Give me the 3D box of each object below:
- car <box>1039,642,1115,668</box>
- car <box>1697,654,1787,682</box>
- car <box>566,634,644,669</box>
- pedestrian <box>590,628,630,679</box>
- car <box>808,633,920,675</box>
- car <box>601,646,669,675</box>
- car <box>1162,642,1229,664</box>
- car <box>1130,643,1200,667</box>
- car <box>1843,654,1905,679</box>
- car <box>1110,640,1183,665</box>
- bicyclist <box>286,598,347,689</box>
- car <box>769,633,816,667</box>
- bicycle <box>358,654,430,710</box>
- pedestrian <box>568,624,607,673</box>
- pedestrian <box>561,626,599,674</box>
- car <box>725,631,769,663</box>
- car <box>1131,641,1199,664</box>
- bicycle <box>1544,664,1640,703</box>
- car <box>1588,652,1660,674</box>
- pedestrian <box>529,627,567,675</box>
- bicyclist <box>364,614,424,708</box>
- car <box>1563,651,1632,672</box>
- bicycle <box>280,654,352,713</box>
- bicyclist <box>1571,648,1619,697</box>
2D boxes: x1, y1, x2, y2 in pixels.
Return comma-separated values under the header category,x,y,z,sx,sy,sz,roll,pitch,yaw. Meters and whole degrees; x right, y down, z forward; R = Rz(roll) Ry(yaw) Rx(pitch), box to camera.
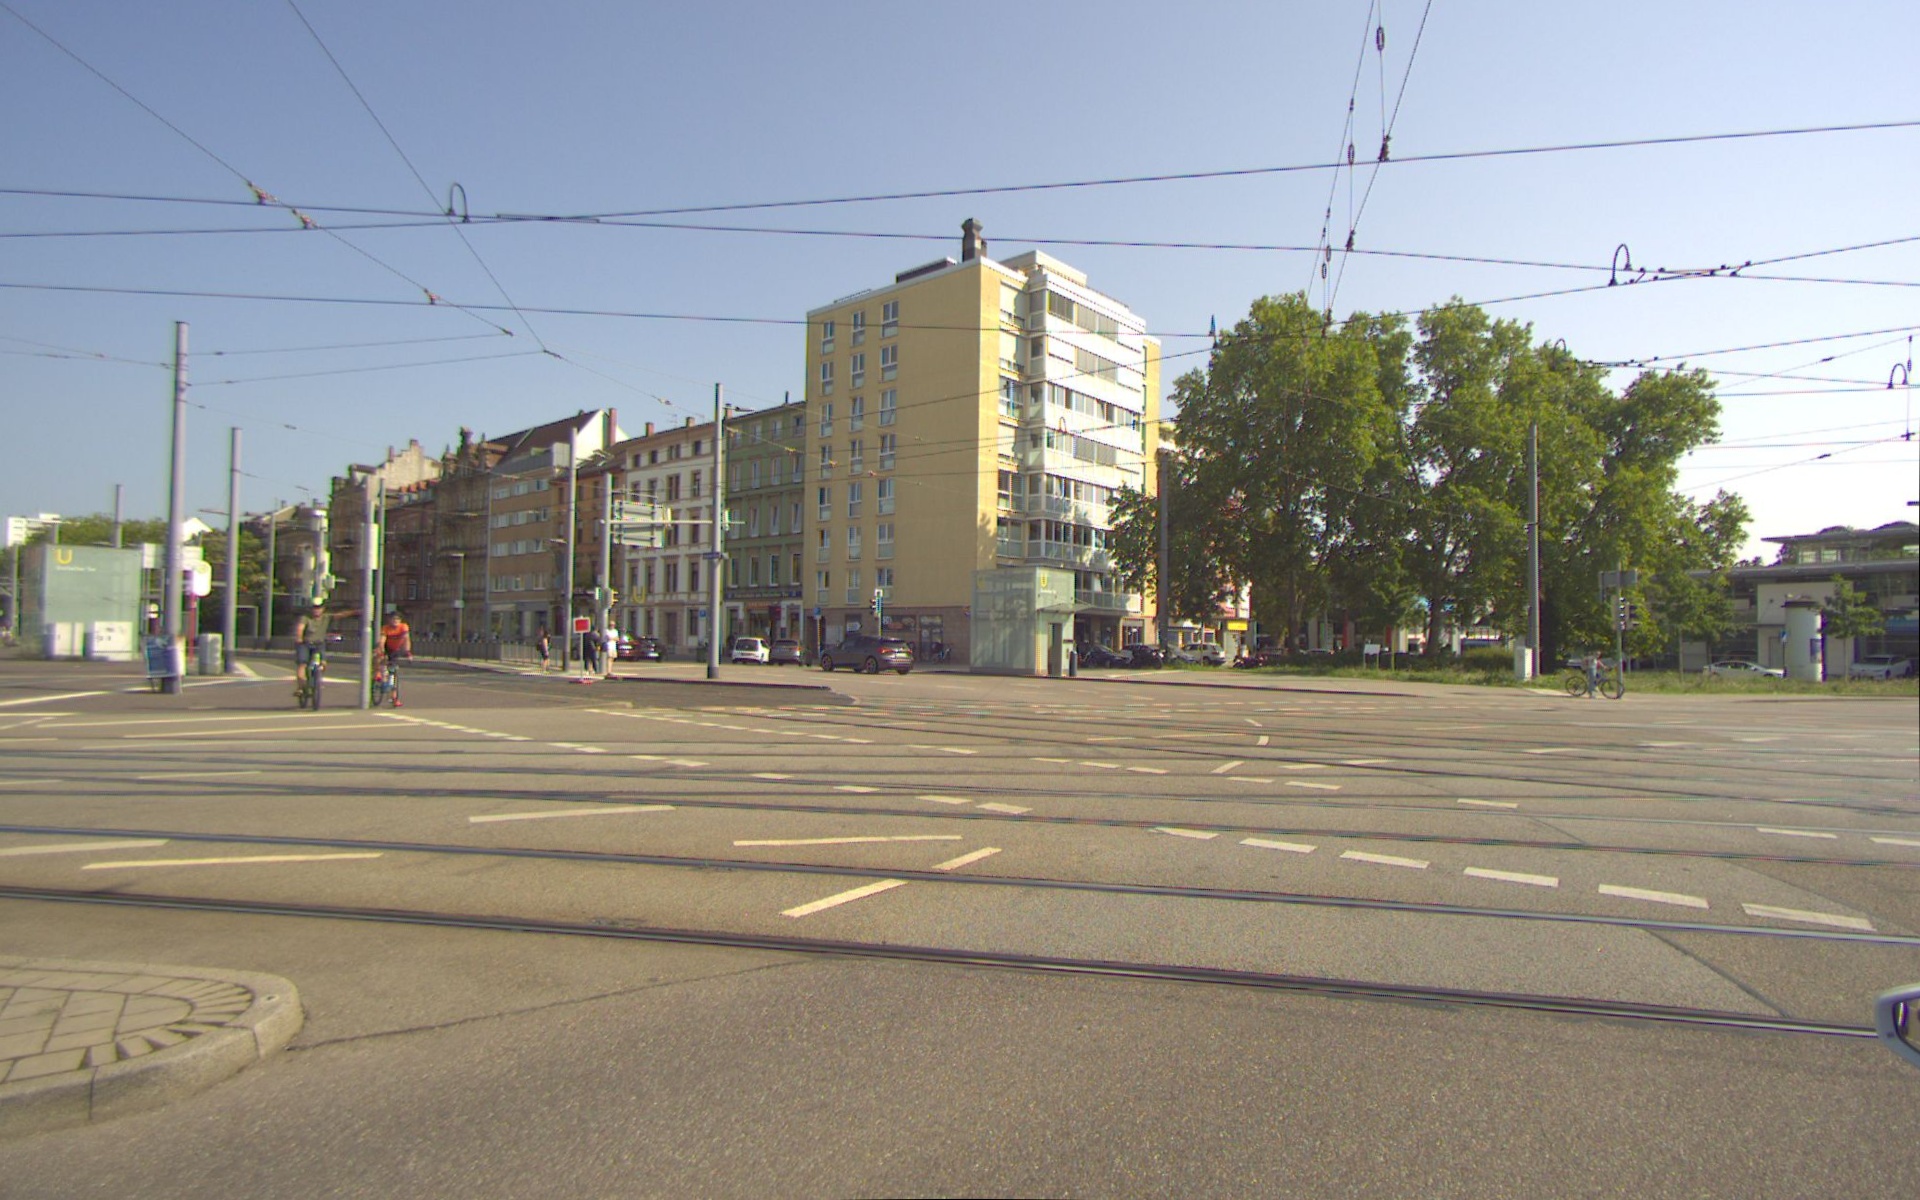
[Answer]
category,x,y,z,sx,sy,sz,roll,pitch,yaw
car,6.616,3.110,57.070,4.106,1.372,1.475,0,-2,39
car,48.168,4.173,61.935,1.683,1.542,4.071,2,-2,-27
car,-18.516,2.648,52.353,4.487,1.700,1.989,-1,-3,44
pedestrian,-12.108,1.847,34.740,0.911,1.712,0.918,0,-2,40
car,-3.760,2.066,38.813,4.487,1.454,1.827,-1,-3,44
car,-18.061,3.336,55.762,4.309,1.511,1.679,-1,-3,42
car,15.684,3.513,67.064,4.106,1.372,1.571,0,-2,39
car,12.894,3.446,63.353,4.106,1.372,1.571,0,-2,39
car,58.429,4.246,64.215,4.049,1.542,1.693,2,-2,-29
car,11.260,3.176,60.864,4.106,1.372,1.571,0,-2,39
bicyclist,-11.286,0.765,17.611,0.721,1.547,0.786,3,-2,-44
car,-8.763,2.596,52.951,1.962,1.700,4.549,1,-2,-3
bicycle,-10.403,1.479,18.427,0.721,0.944,1.795,3,-3,-43
pedestrian,-13.240,1.725,35.725,0.911,1.712,0.918,0,-2,40
pedestrian,-13.855,1.820,36.644,0.911,1.712,0.918,0,-2,40
car,-11.890,2.614,56.315,1.963,1.700,4.545,2,-2,-7
car,13.373,3.401,65.689,4.106,1.372,1.571,0,-2,39
bicycle,21.321,2.779,33.907,2.572,1.071,0.955,3,-1,44
car,51.106,4.816,77.363,4.426,1.542,1.705,1,-2,-1
pedestrian,-15.088,1.860,36.767,0.911,1.712,0.918,0,-2,40
bicyclist,-10.387,1.102,18.424,0.721,1.673,0.873,3,-2,-44
car,50.554,4.872,79.706,4.426,1.542,1.705,1,-2,-1
bicycle,-11.279,1.432,17.569,0.721,0.944,1.795,3,-3,-43
bicyclist,21.401,2.423,33.850,1.150,1.547,0.955,2,-1,44
